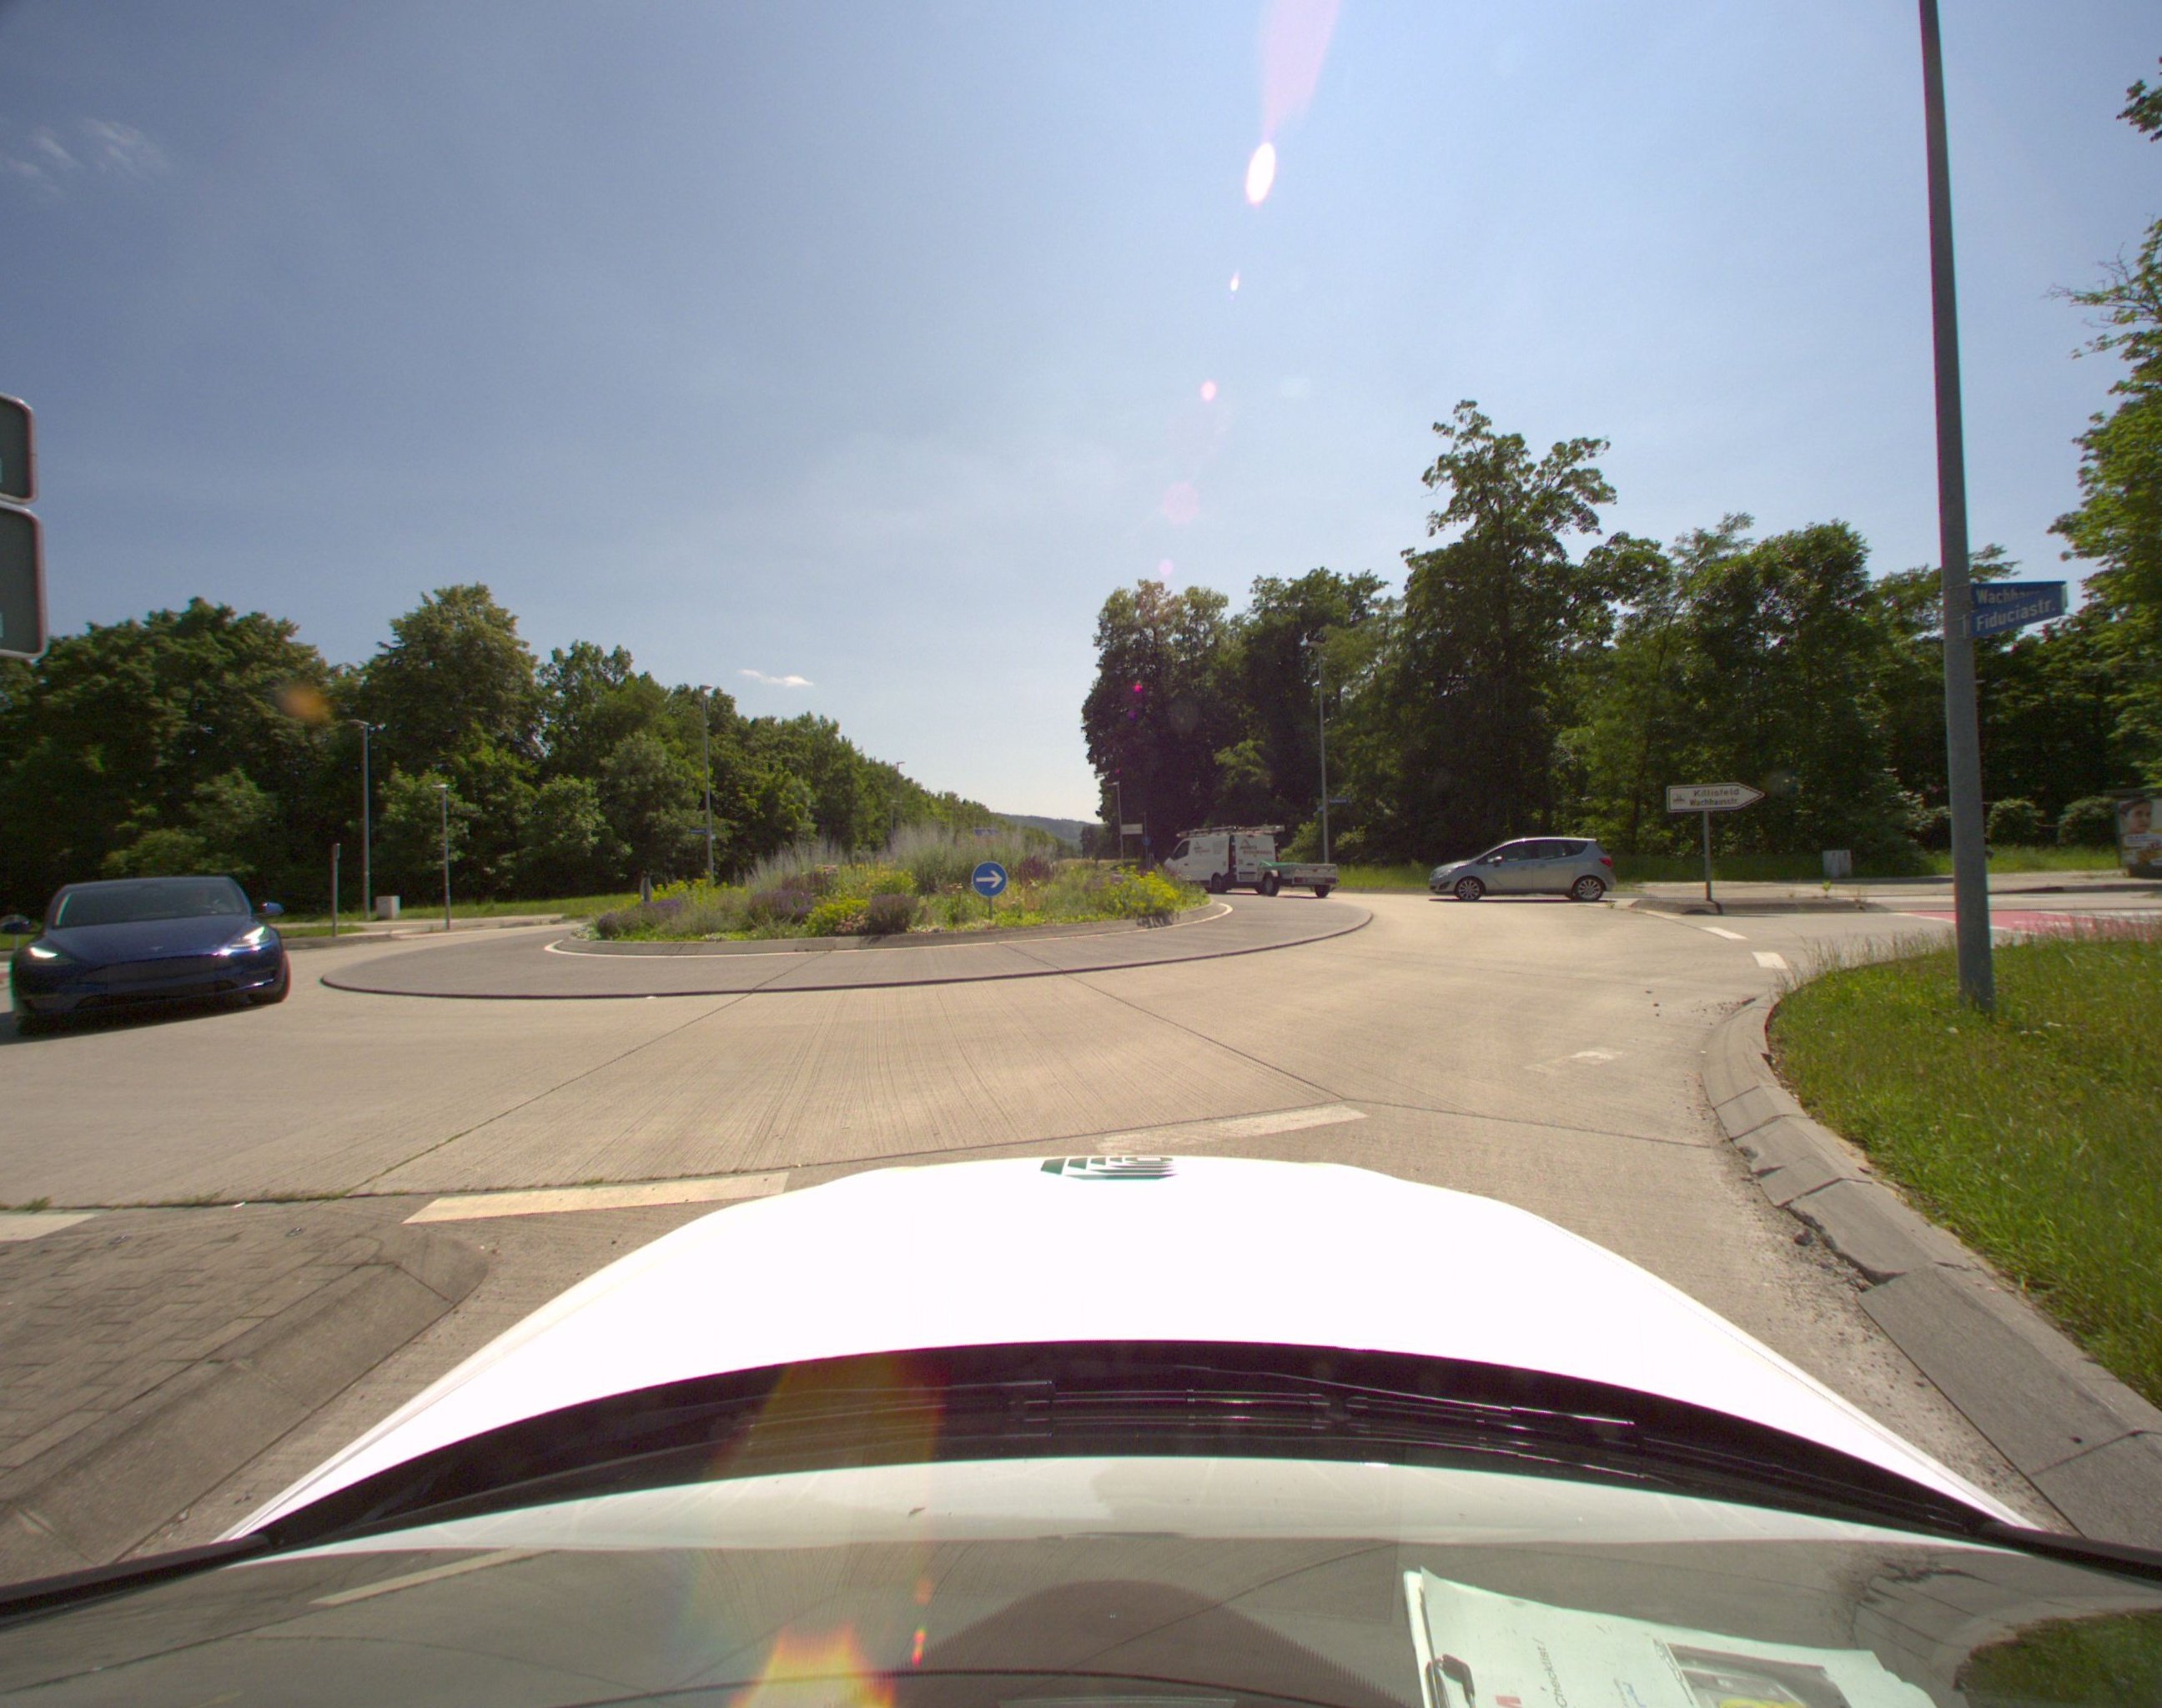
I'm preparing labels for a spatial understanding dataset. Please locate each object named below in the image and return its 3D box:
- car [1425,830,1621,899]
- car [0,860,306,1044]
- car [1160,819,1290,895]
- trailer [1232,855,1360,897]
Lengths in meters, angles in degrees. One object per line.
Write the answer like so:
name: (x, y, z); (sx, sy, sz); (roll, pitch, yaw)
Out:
car: (11.041, 0.284, 20.659); (4.081, 1.607, 1.798); (-1, -1, 17)
car: (-10.866, 0.969, 9.817); (2.011, 1.640, 4.700); (-2, 0, -42)
car: (4.702, 0.108, 27.473); (2.173, 2.316, 4.948); (-1, -1, -19)
trailer: (6.134, 0.618, 23.586); (2.127, 1.097, 3.335); (-1, -1, -17)
